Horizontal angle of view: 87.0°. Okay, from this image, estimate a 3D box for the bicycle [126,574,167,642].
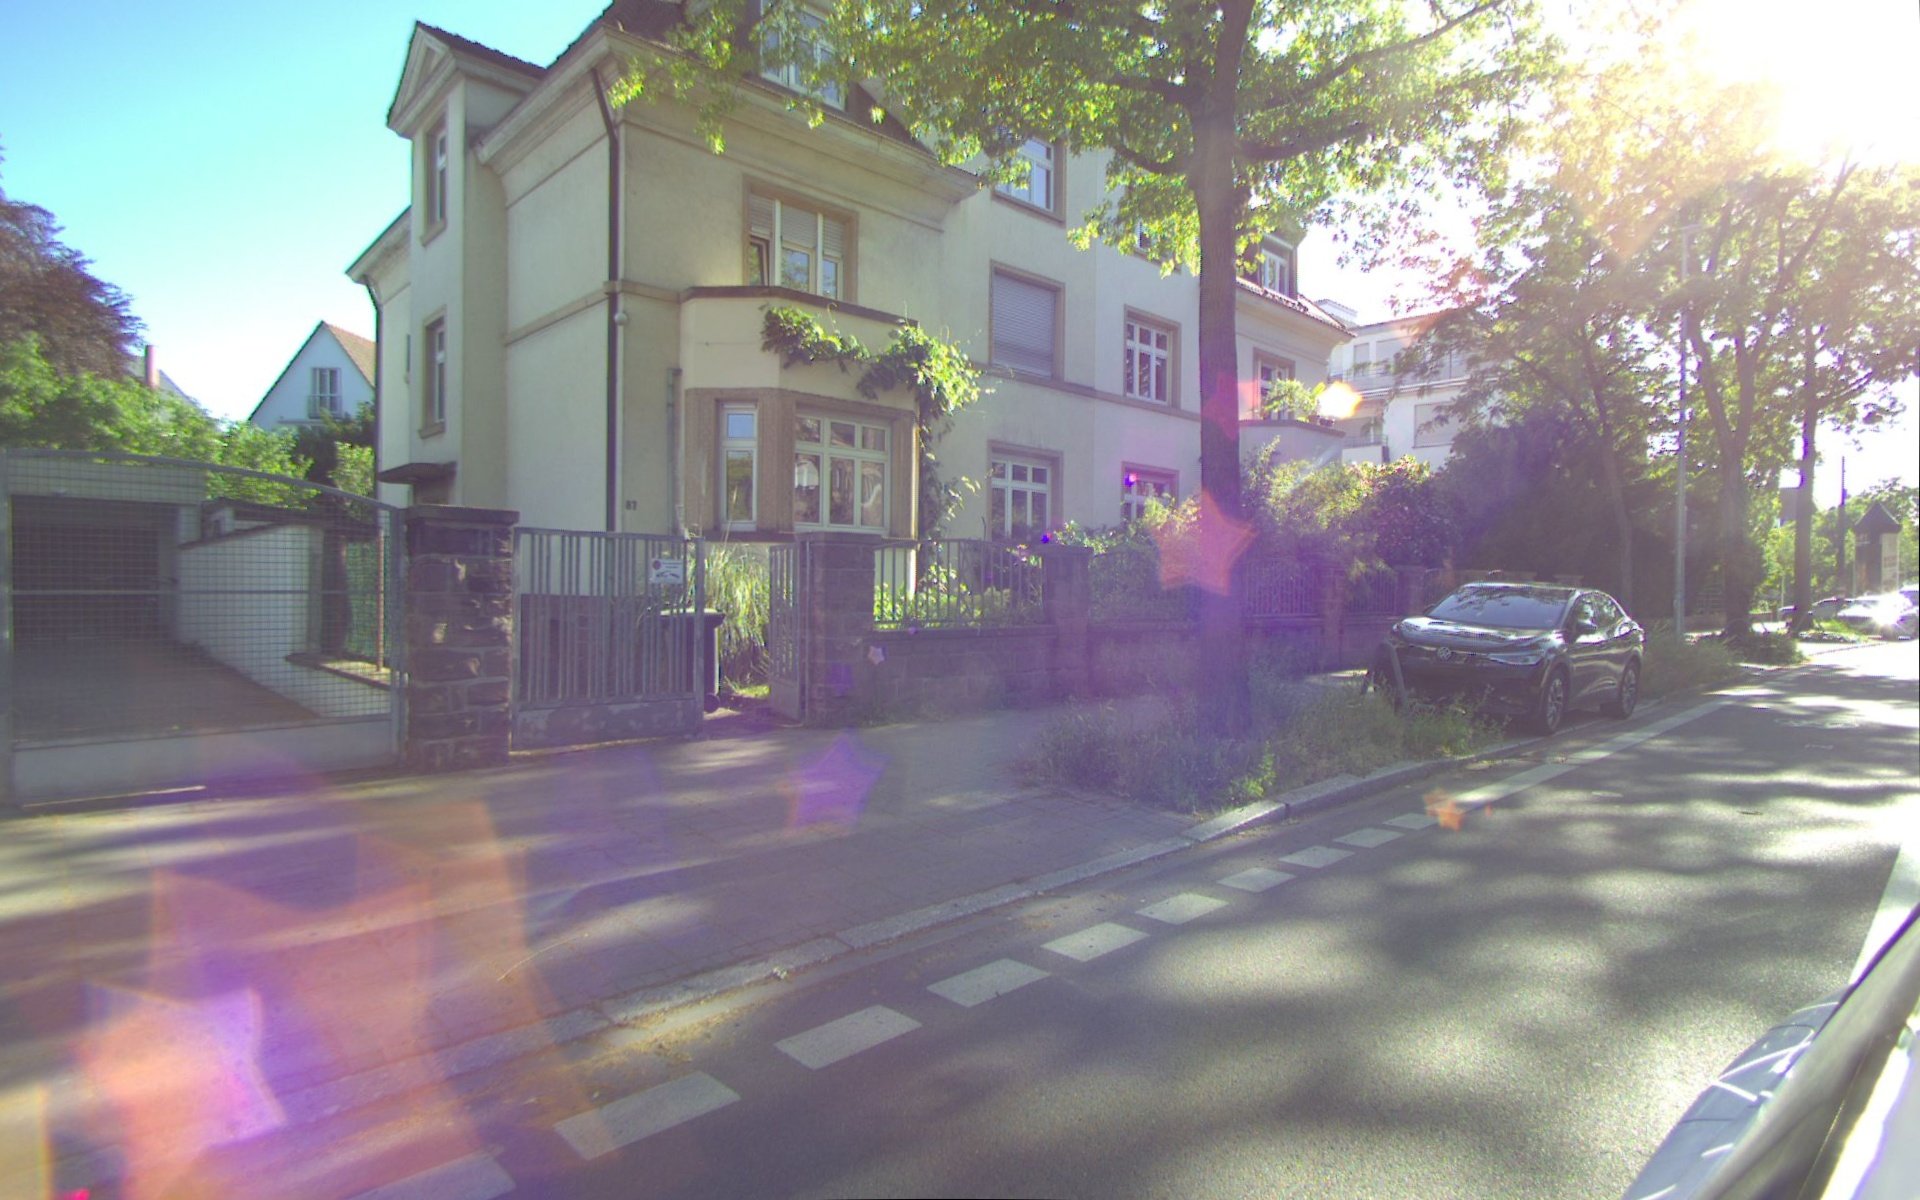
[{"bbox_3d":[-14.286,0.127,17.766,0.512,1.136,1.464,0,0,-41],"label":"bicycle"}]

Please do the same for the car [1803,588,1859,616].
[{"bbox_3d":[47.108,0.086,54.698,3.930,1.460,1.739,-1,1,-41],"label":"car"}]

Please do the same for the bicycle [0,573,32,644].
[{"bbox_3d":[-15.692,0.128,16.693,0.512,1.136,1.464,0,0,-41],"label":"bicycle"}]

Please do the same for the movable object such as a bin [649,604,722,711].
[{"bbox_3d":[-2.943,0.585,10.815,0.712,1.068,0.969,0,0,-17],"label":"movable object such as a bin"}]

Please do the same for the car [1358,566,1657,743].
[{"bbox_3d":[6.718,0.513,12.233,4.101,1.765,1.995,-1,1,-43],"label":"car"}]

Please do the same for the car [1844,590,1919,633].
[{"bbox_3d":[31.544,0.359,34.336,3.847,1.356,1.719,-1,1,-39],"label":"car"}]

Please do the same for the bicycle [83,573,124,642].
[{"bbox_3d":[-14.770,0.112,17.446,0.512,1.136,1.464,0,0,-41],"label":"bicycle"}]

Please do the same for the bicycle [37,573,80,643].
[{"bbox_3d":[-15.195,0.120,17.076,0.512,1.136,1.464,0,0,-41],"label":"bicycle"}]

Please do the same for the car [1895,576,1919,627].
[{"bbox_3d":[36.727,0.022,37.910,4.171,1.852,1.904,-1,1,-38],"label":"car"}]
